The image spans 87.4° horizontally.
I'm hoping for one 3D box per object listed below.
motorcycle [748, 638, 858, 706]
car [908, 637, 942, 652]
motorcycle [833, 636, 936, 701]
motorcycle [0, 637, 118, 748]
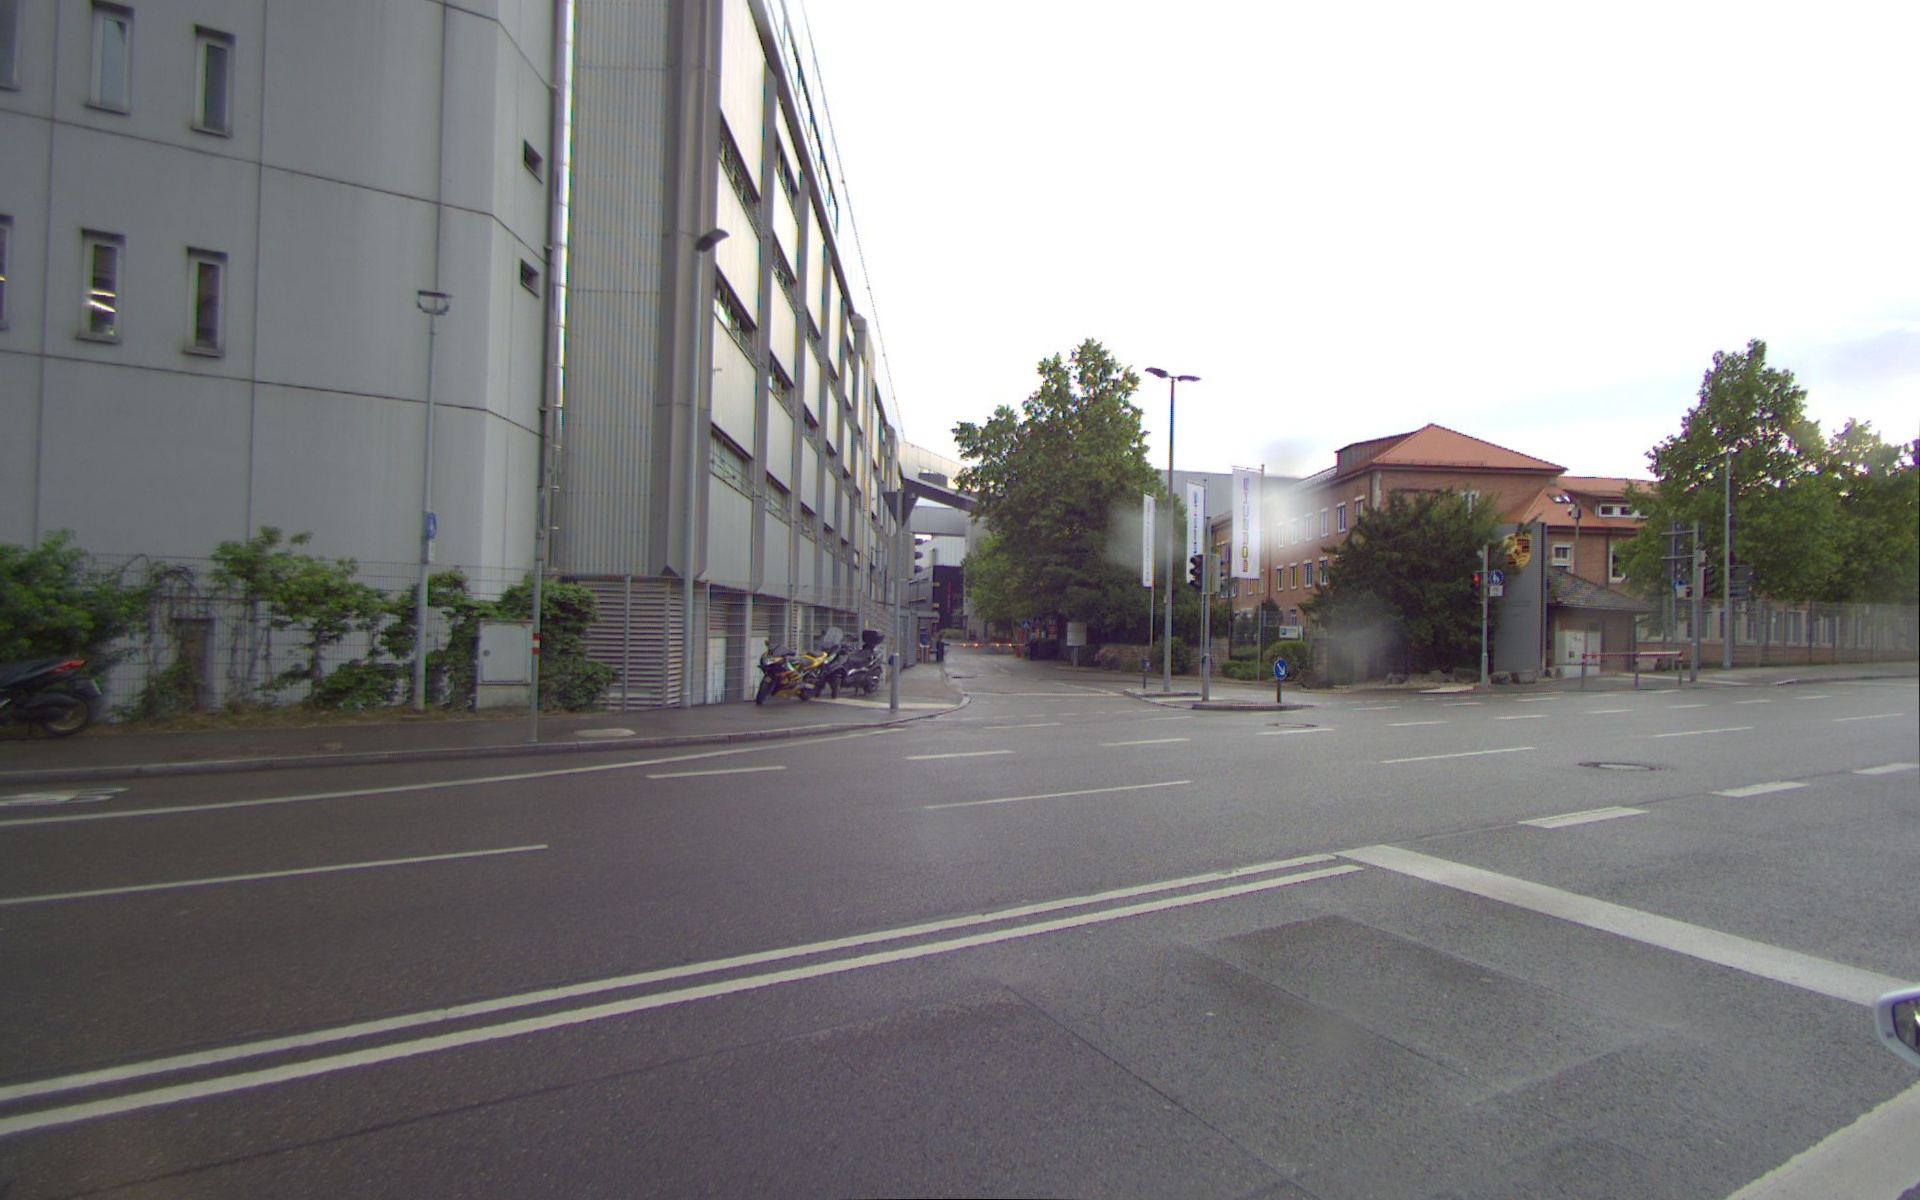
[{"bbox_3d":[-3.089,1.395,20.082,0.759,1.234,2.504,0,-2,30],"label":"motorcycle"},{"bbox_3d":[-4.551,5.842,131.403,3.914,1.849,1.955,2,0,-31],"label":"car"},{"bbox_3d":[-1.636,1.497,22.518,1.008,1.355,2.772,-1,-2,27],"label":"motorcycle"},{"bbox_3d":[-11.368,1.069,11.796,2.133,1.263,0.780,2,-2,-32],"label":"motorcycle"}]
